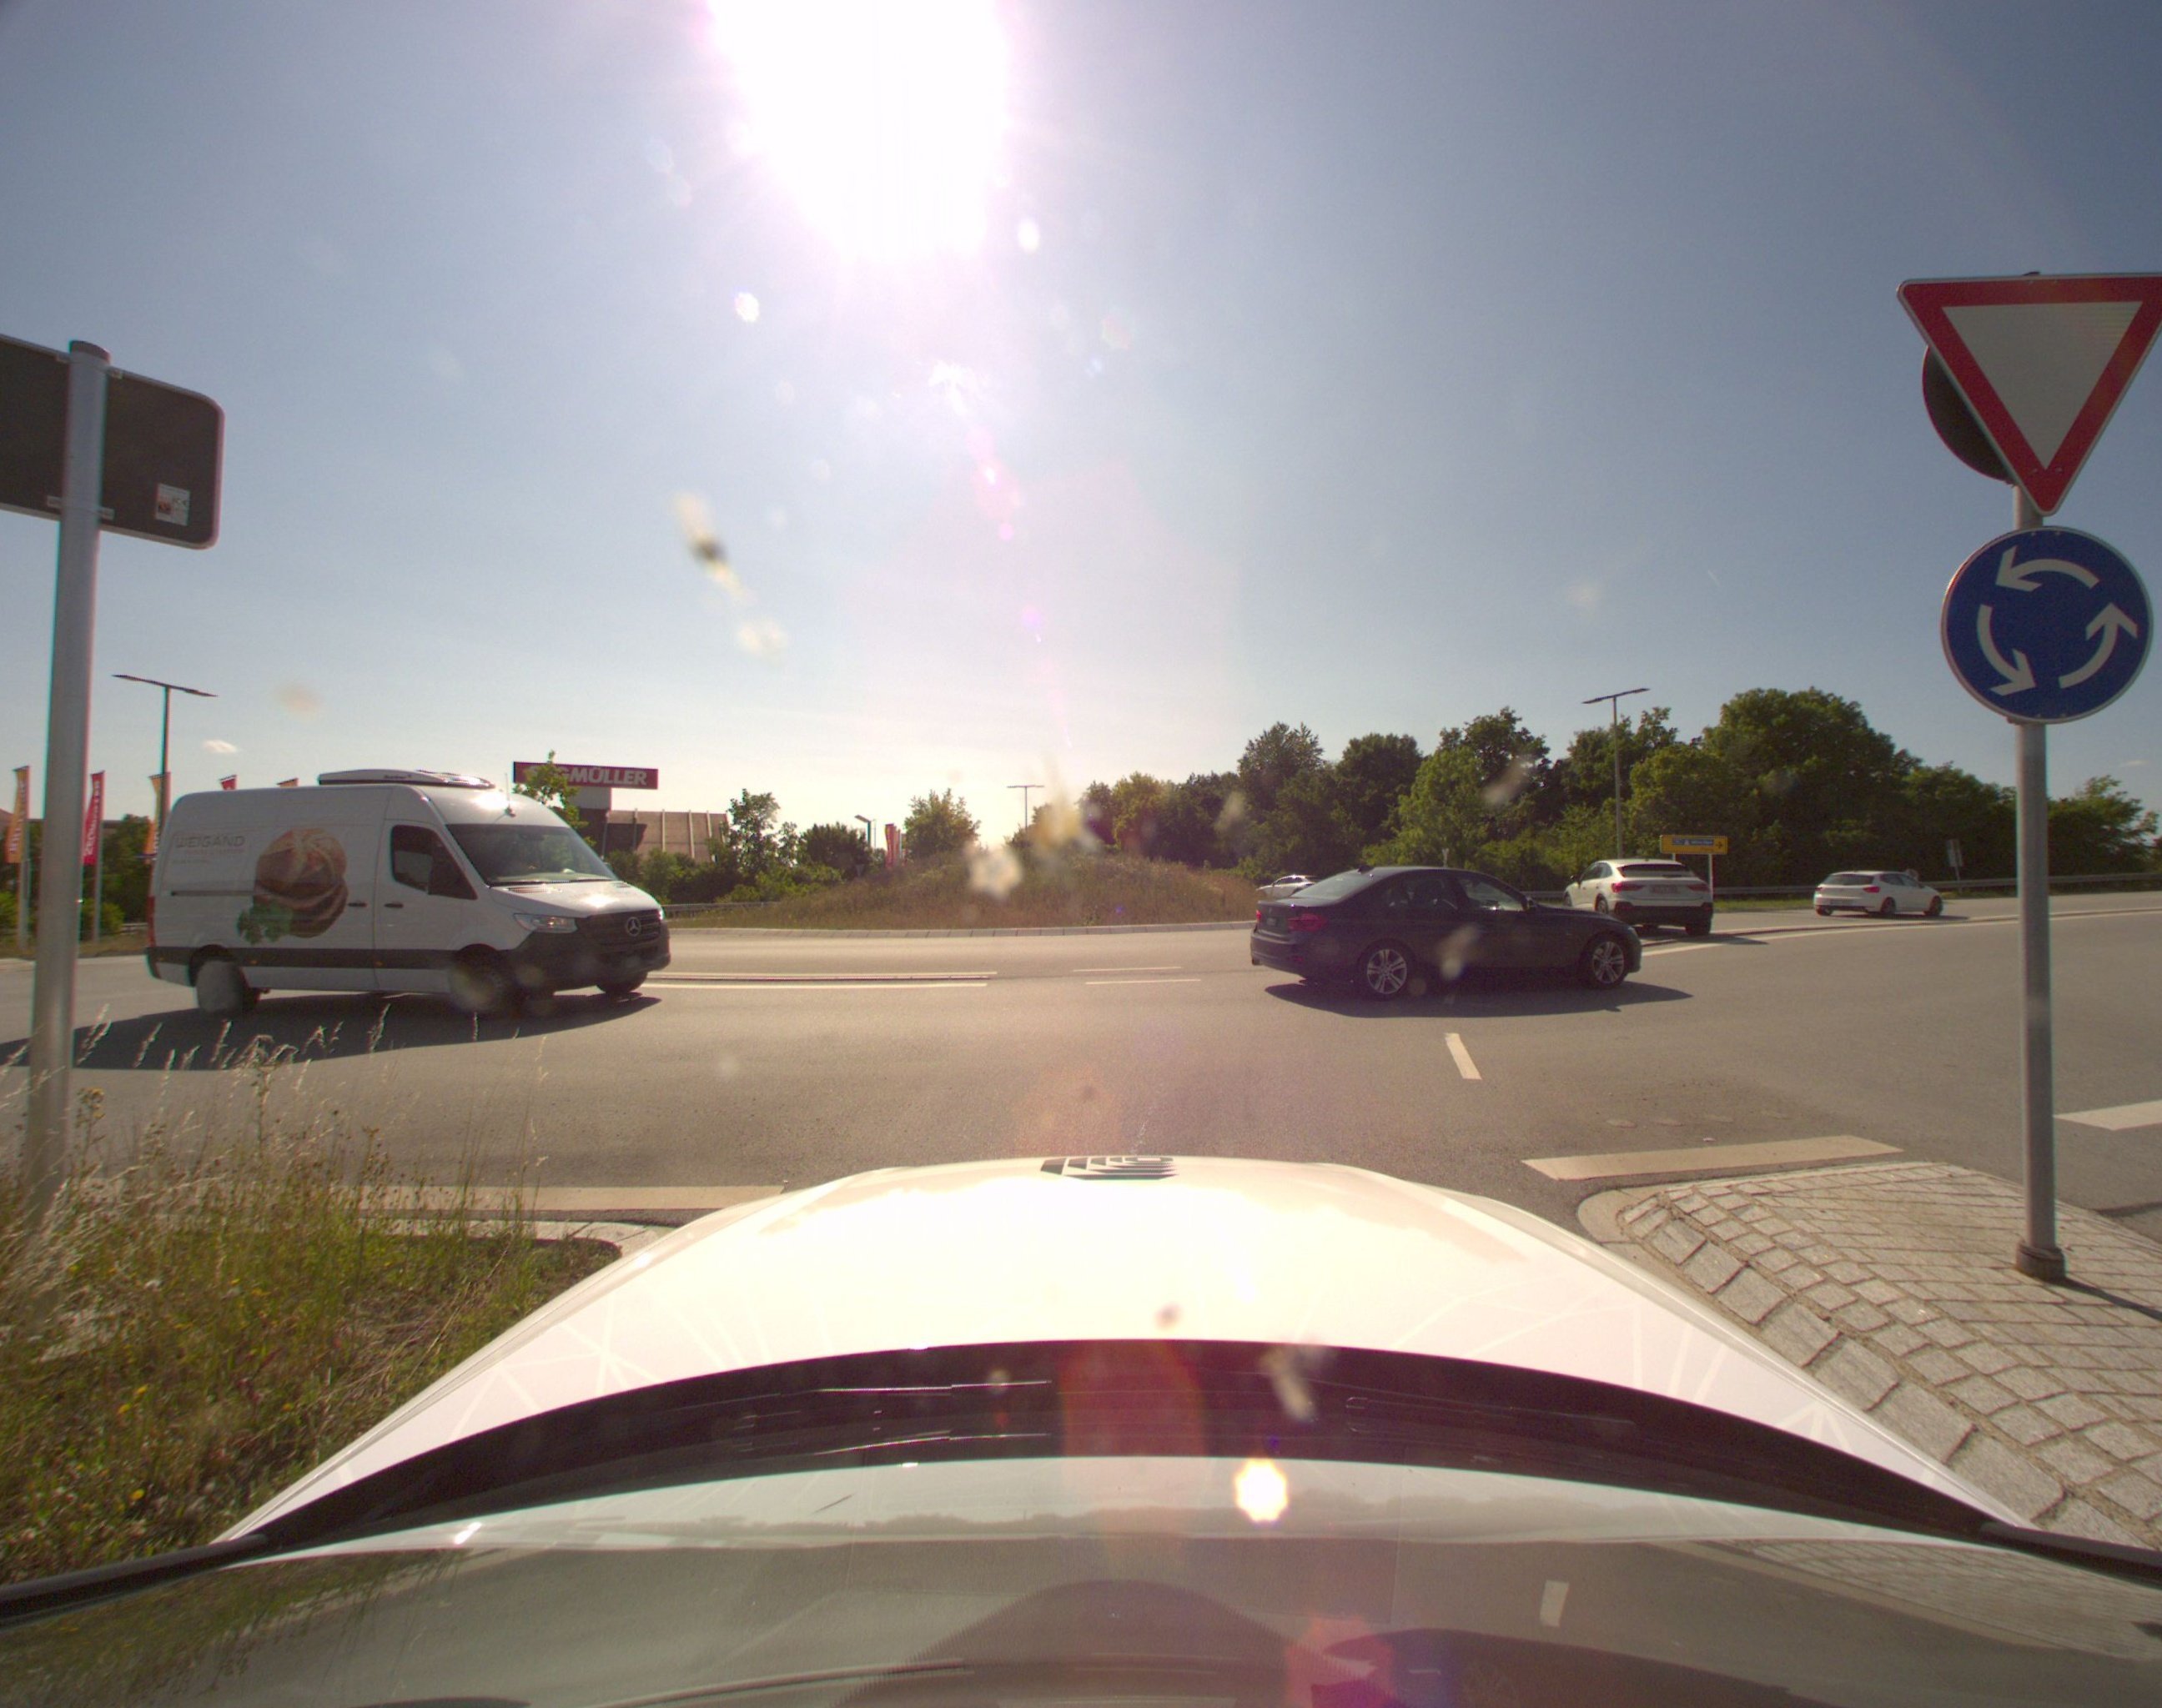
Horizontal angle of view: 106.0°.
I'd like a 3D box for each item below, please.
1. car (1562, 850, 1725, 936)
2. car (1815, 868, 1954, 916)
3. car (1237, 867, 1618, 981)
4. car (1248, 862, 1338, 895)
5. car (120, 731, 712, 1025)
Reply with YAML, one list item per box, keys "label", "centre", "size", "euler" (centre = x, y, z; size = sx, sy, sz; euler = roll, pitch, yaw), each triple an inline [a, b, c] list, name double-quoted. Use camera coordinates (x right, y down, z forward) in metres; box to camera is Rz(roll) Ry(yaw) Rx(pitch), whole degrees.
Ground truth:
- label: "car"
  centre: [11.829, 0.764, 17.467]
  size: [1.825, 1.596, 4.347]
  euler: [-1, -1, 20]
- label: "car"
  centre: [25.238, 1.132, 25.556]
  size: [4.426, 1.405, 1.776]
  euler: [1, -1, -27]
- label: "car"
  centre: [3.963, 0.744, 9.605]
  size: [3.851, 1.182, 1.671]
  euler: [0, -1, -9]
- label: "car"
  centre: [10.530, 1.242, 40.733]
  size: [1.798, 1.530, 4.244]
  euler: [0, -3, -32]
- label: "car"
  centre: [-7.808, 0.267, 9.753]
  size: [6.077, 2.921, 2.091]
  euler: [0, -1, 12]
